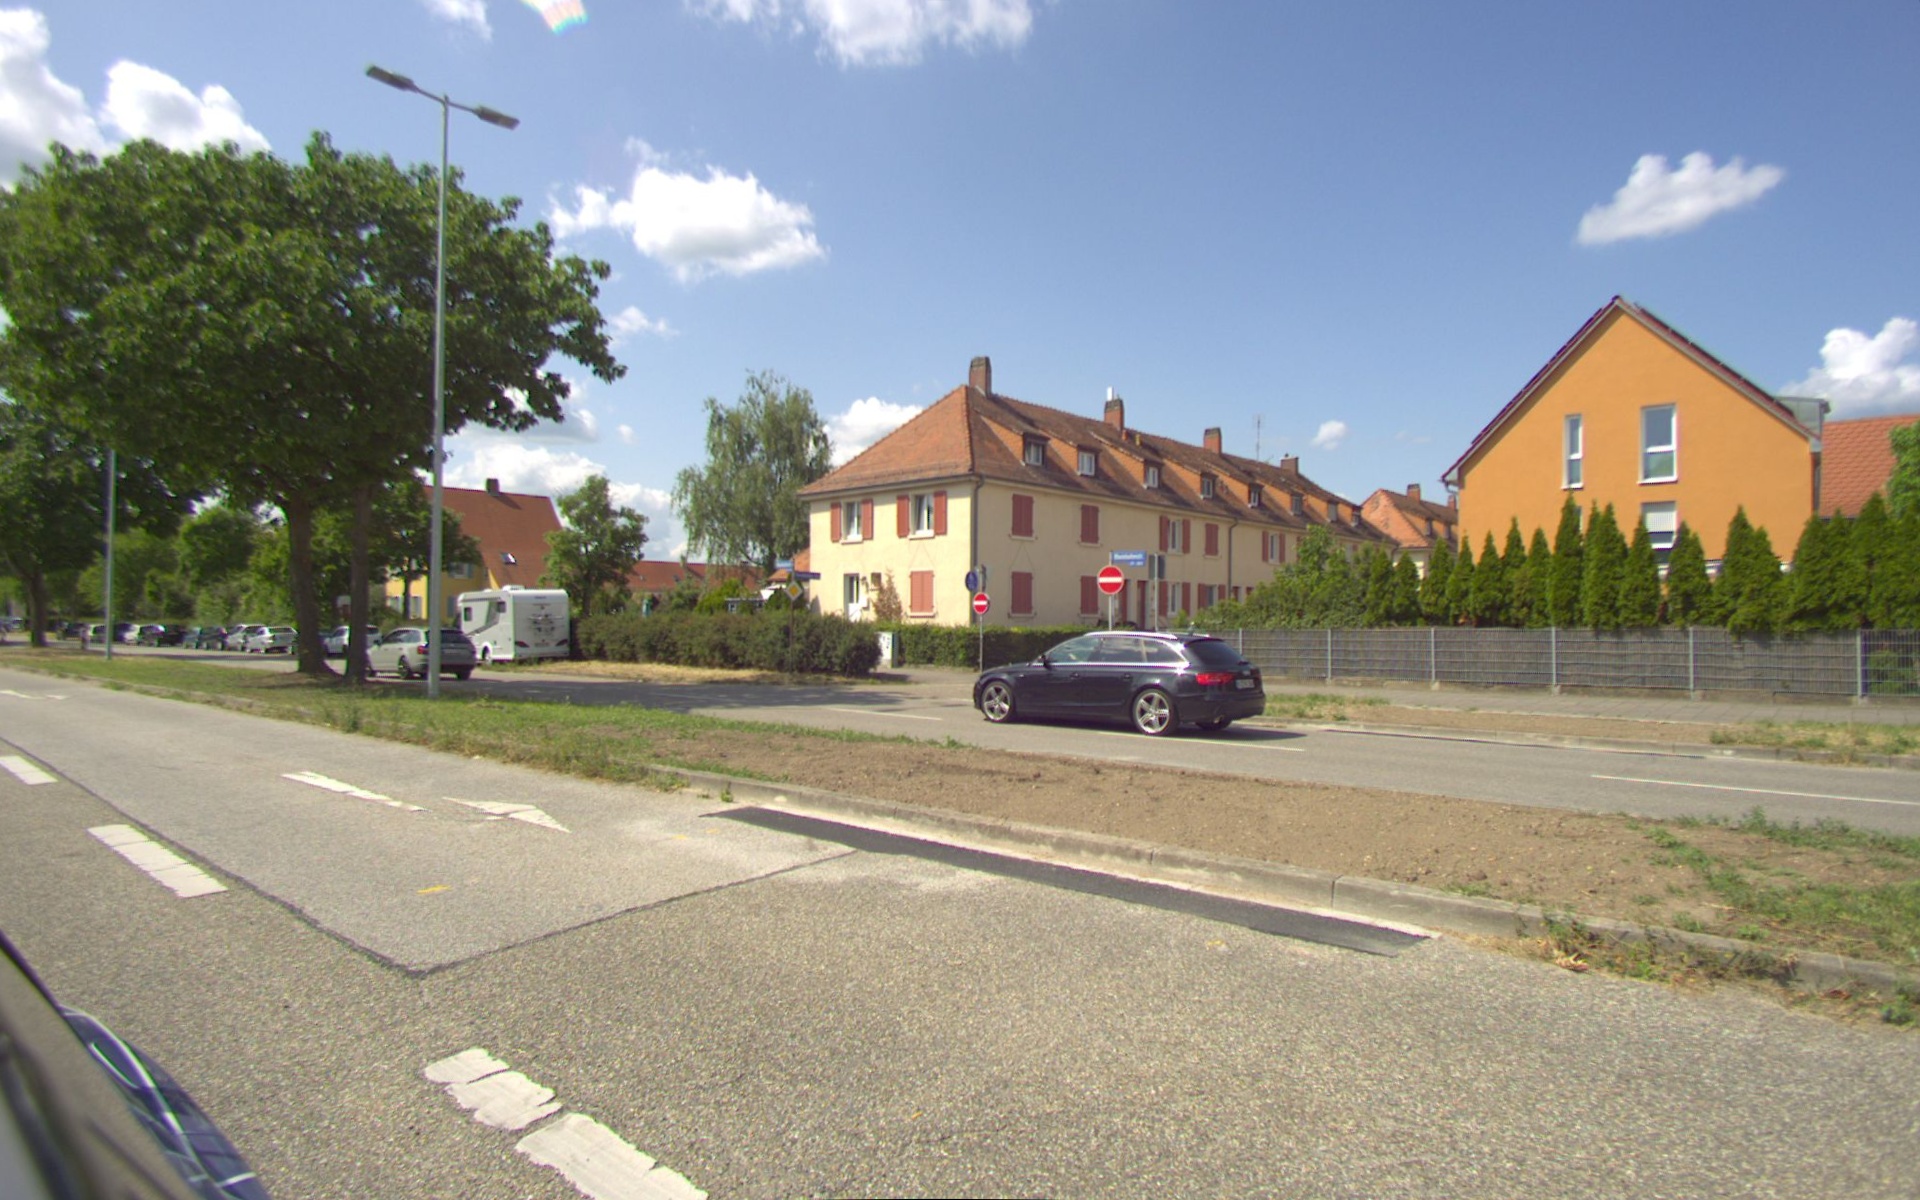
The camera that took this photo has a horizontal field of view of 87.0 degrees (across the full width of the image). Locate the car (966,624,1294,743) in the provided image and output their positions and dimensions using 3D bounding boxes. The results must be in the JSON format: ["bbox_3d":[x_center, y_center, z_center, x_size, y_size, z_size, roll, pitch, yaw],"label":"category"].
[{"bbox_3d":[2.342,1.108,14.872,4.578,1.449,1.751,-1,-2,44],"label":"car"}]

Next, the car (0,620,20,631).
[{"bbox_3d":[-123.905,3.318,130.670,1.550,1.408,4.004,-1,1,-4],"label":"car"}]

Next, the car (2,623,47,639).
[{"bbox_3d":[-111.709,3.716,120.886,1.778,1.874,4.003,-1,-1,-4],"label":"car"}]

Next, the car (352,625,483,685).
[{"bbox_3d":[-15.542,1.542,28.893,4.650,1.519,1.714,0,-4,41],"label":"car"}]

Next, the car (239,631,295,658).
[{"bbox_3d":[-38.452,2.427,56.102,4.529,1.380,1.495,-2,0,41],"label":"car"}]

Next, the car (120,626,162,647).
[{"bbox_3d":[-61.475,2.710,75.949,3.842,1.462,1.644,0,1,39],"label":"car"}]

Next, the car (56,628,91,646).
[{"bbox_3d":[-80.448,3.338,91.825,3.995,1.563,1.750,0,1,39],"label":"car"}]

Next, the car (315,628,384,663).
[{"bbox_3d":[-29.403,2.157,48.669,4.122,1.497,1.671,0,1,41],"label":"car"}]

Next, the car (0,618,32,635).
[{"bbox_3d":[-119.189,3.298,127.032,1.778,2.029,4.004,-1,1,-4],"label":"car"}]

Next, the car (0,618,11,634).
[{"bbox_3d":[-126.357,3.439,131.834,1.778,2.029,4.004,-1,1,-4],"label":"car"}]

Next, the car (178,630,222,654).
[{"bbox_3d":[-49.573,2.745,65.982,3.474,1.405,1.547,0,1,39],"label":"car"}]

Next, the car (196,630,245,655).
[{"bbox_3d":[-45.818,2.594,62.655,4.352,1.405,1.389,-1,0,40],"label":"car"}]

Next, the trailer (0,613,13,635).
[{"bbox_3d":[-138.308,3.523,143.926,2.781,3.132,5.768,-2,0,-13],"label":"trailer"}]

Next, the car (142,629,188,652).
[{"bbox_3d":[-56.025,2.833,71.255,4.098,1.492,1.644,-2,0,39],"label":"car"}]

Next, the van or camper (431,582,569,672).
[{"bbox_3d":[-17.715,1.026,38.688,7.322,3.135,2.234,-2,0,44],"label":"van or camper"}]

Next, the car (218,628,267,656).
[{"bbox_3d":[-42.235,2.438,59.530,3.738,1.569,1.389,-1,0,40],"label":"car"}]

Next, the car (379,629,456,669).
[{"bbox_3d":[-23.203,2.046,43.235,3.991,1.497,1.619,0,1,41],"label":"car"}]

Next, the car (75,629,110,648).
[{"bbox_3d":[-72.762,3.229,84.841,3.531,1.472,1.578,0,1,39],"label":"car"}]

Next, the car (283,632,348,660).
[{"bbox_3d":[-33.283,2.330,52.224,4.582,1.316,1.619,-2,0,41],"label":"car"}]

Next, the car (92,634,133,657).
[{"bbox_3d":[-67.441,3.602,80.537,4.309,1.624,1.644,0,1,39],"label":"car"}]
